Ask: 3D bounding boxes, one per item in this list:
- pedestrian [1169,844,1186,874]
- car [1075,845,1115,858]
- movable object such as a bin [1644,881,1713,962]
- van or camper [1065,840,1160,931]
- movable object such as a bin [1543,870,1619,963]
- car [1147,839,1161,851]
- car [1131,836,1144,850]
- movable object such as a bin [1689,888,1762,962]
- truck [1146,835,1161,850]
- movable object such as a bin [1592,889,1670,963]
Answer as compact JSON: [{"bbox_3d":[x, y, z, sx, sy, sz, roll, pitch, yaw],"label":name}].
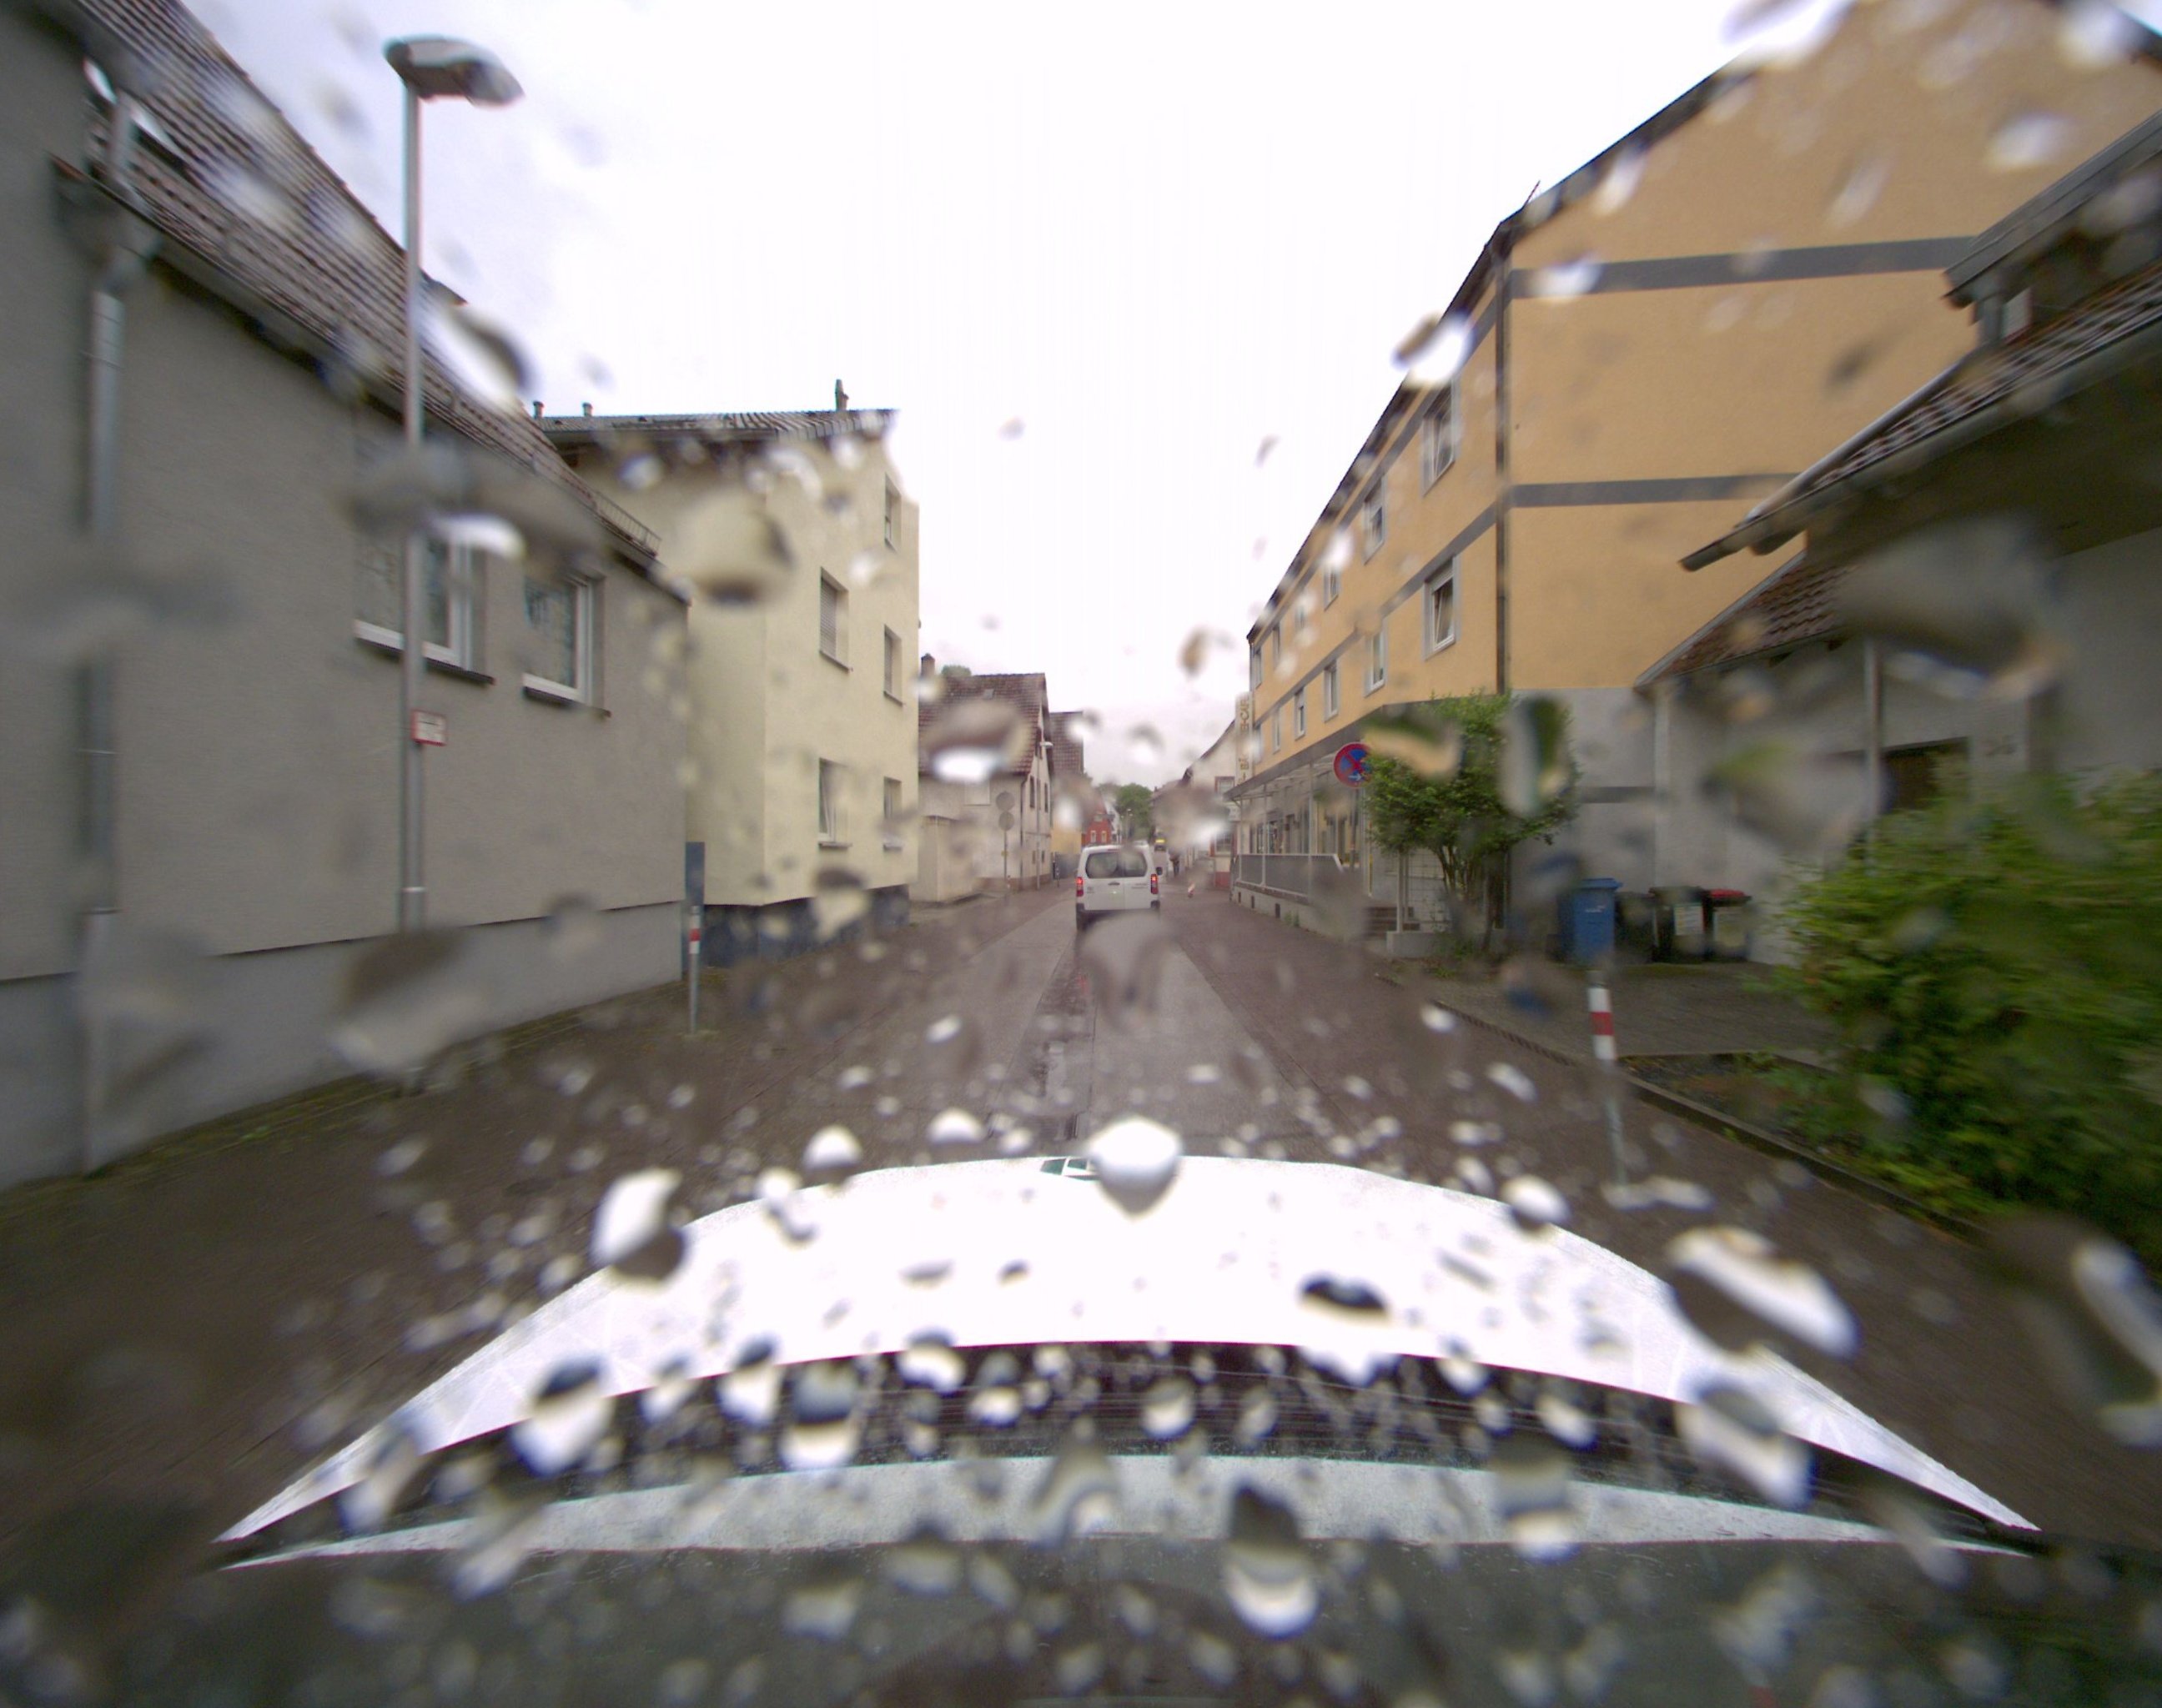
[{"bbox_3d":[5.709,0.276,48.163,0.988,1.735,0.813,0,2,9],"label":"pedestrian"},{"bbox_3d":[1.543,-0.245,90.258,4.014,1.373,2.090,-1,0,-32],"label":"car"},{"bbox_3d":[7.187,0.798,9.817,0.444,0.921,0.534,-1,0,6],"label":"movable object such as a bin"},{"bbox_3d":[0.742,0.648,18.499,1.935,1.851,4.003,0,0,3],"label":"van or camper"},{"bbox_3d":[6.128,0.748,10.004,0.506,1.081,0.740,-1,0,6],"label":"movable object such as a bin"},{"bbox_3d":[10.852,-1.317,121.600,1.985,1.747,4.004,-1,0,4],"label":"car"},{"bbox_3d":[7.878,-1.517,113.347,1.804,1.779,4.023,-1,2,4],"label":"car"},{"bbox_3d":[7.673,0.840,9.712,0.462,0.825,0.504,-1,0,6],"label":"movable object such as a bin"},{"bbox_3d":[12.061,-1.842,135.307,2.340,2.425,4.954,-1,0,4],"label":"truck"},{"bbox_3d":[6.708,0.861,9.963,0.447,0.812,0.740,-4,0,6],"label":"movable object such as a bin"}]
